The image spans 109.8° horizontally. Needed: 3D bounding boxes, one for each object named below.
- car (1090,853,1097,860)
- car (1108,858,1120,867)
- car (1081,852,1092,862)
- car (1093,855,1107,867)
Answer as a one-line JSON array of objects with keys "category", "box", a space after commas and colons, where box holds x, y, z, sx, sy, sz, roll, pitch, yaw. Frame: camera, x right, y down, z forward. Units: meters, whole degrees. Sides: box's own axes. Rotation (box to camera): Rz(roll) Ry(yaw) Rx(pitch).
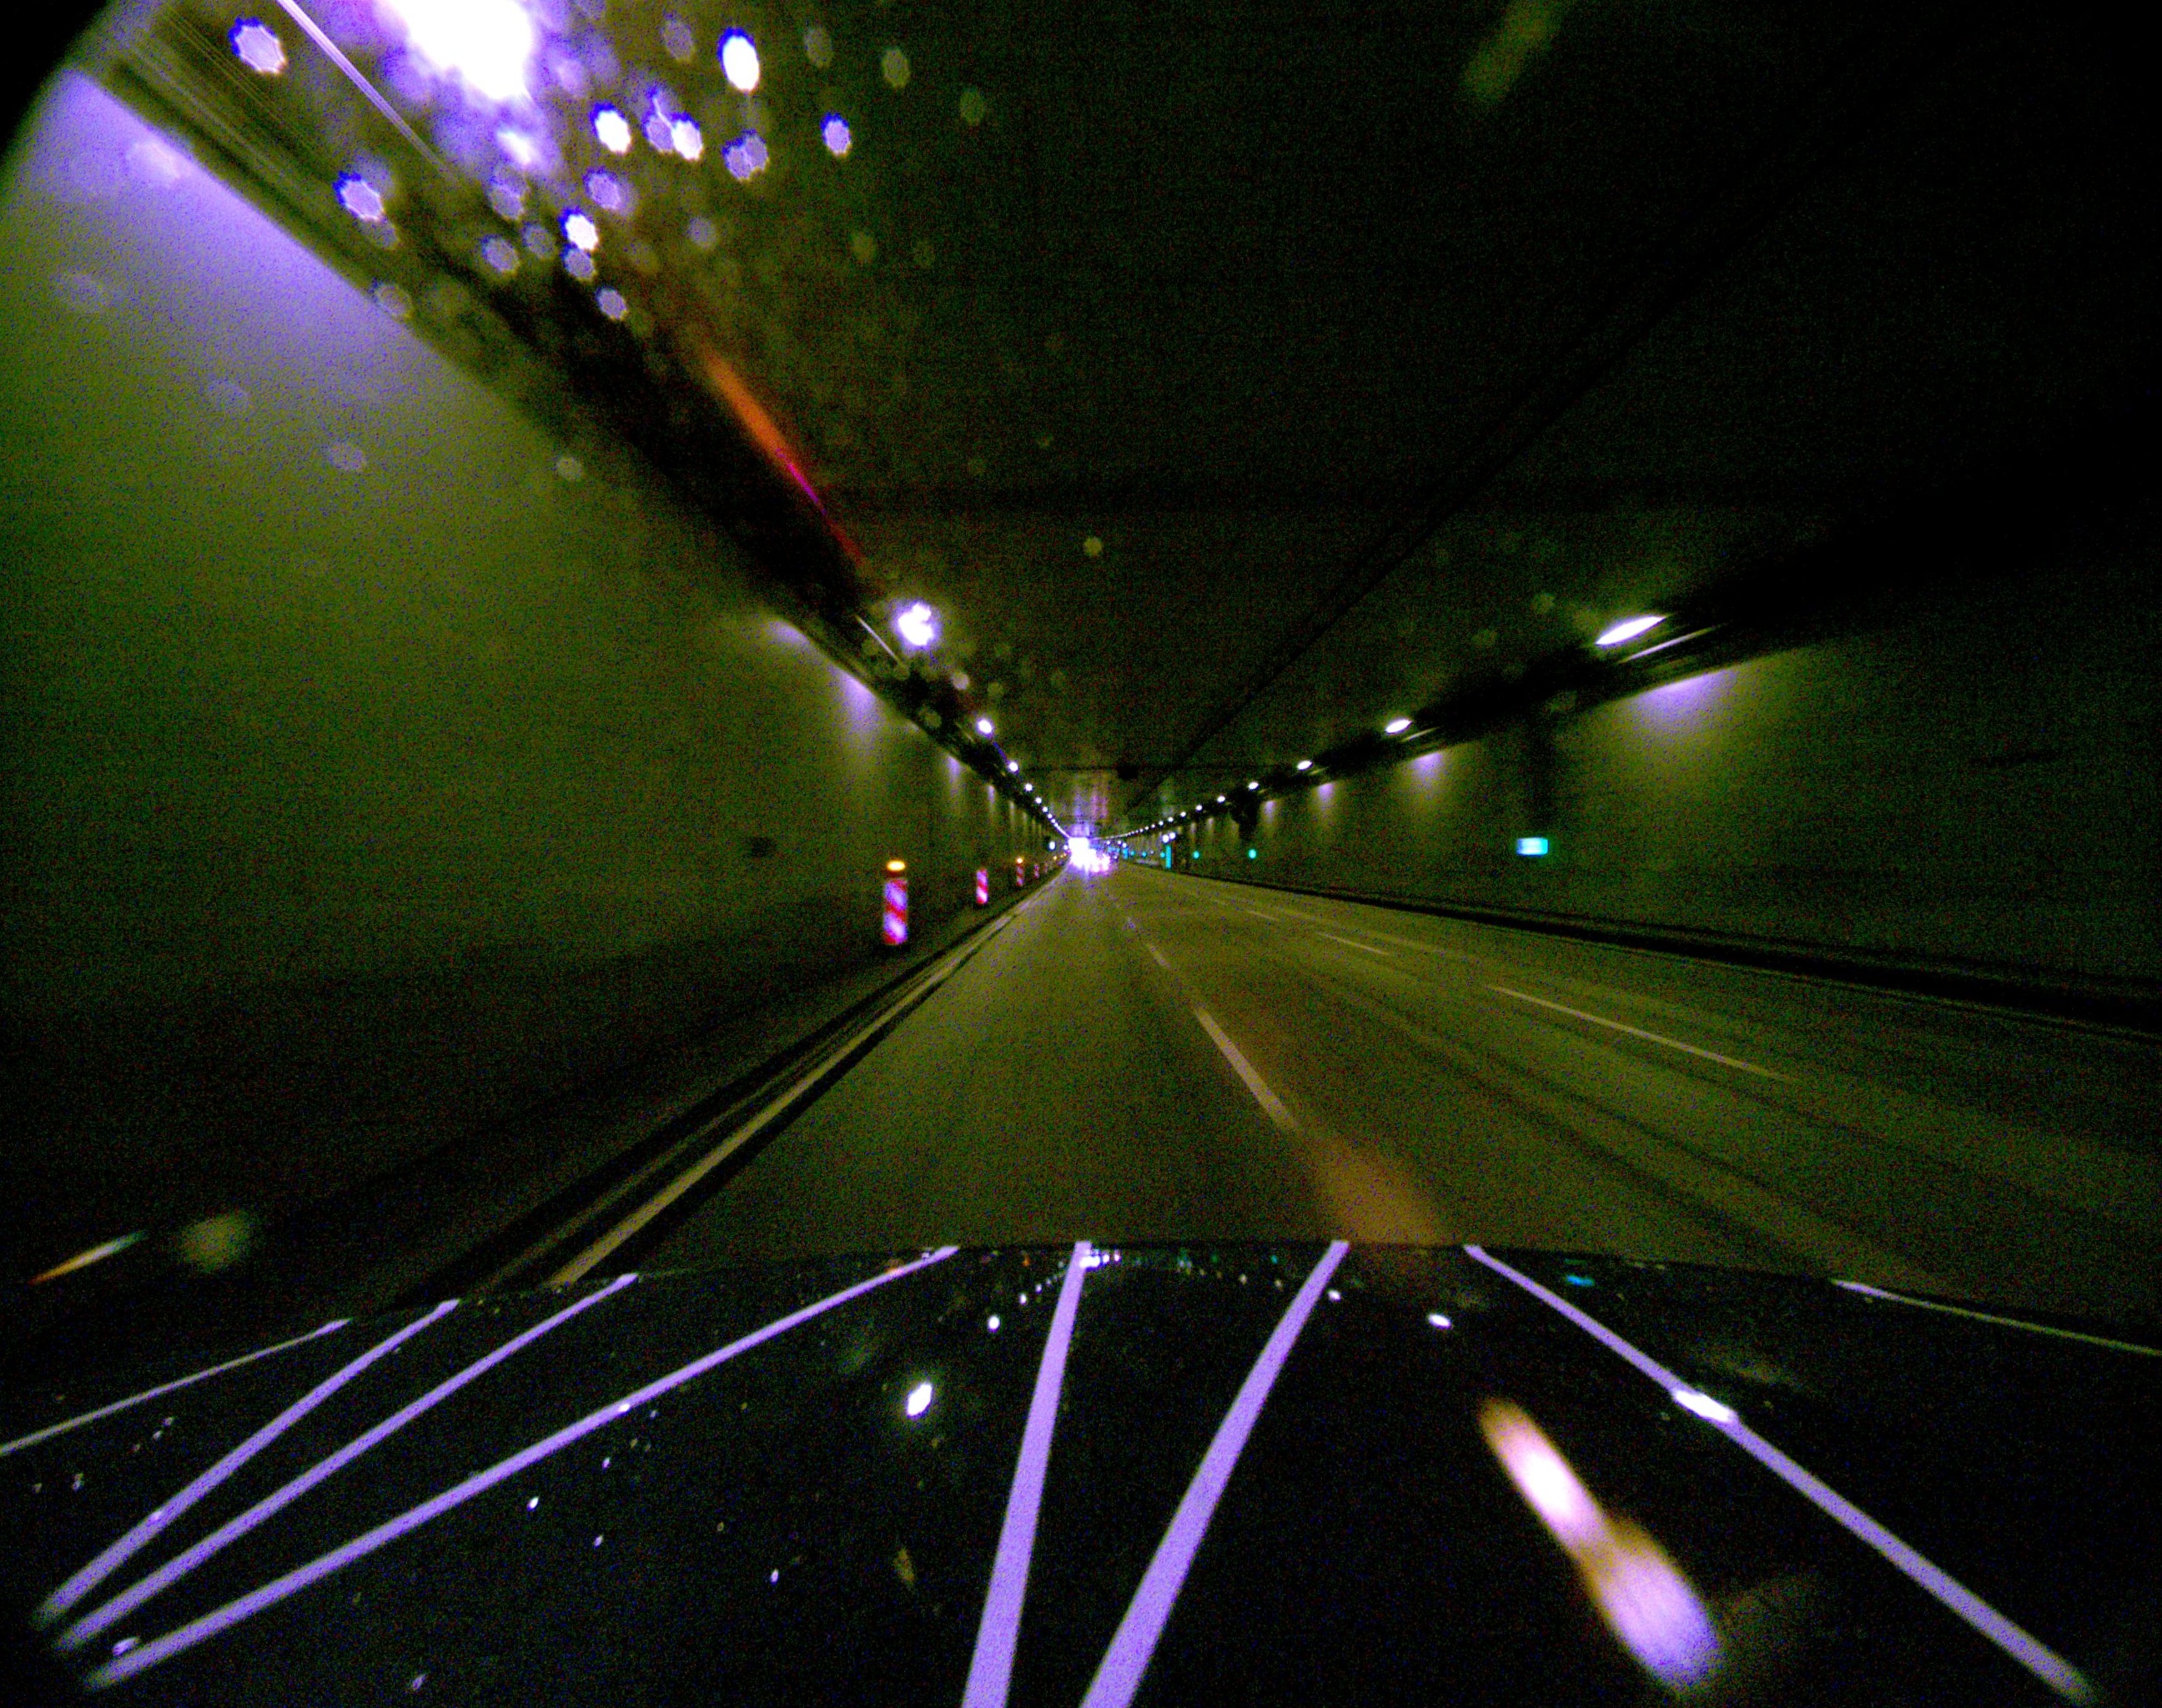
[{"category": "car", "box": [3.534, 0.735, 218.504, 1.998, 1.756, 3.999, -1, 1, 0]}, {"category": "car", "box": [5.987, 1.510, 136.980, 1.998, 1.685, 4.000, 0, 0, 0]}, {"category": "car", "box": [0.995, 0.605, 144.986, 1.998, 1.686, 3.999, -1, 1, 0]}, {"category": "car", "box": [2.740, 1.033, 111.785, 1.998, 1.685, 4.000, 2, -1, 0]}]
